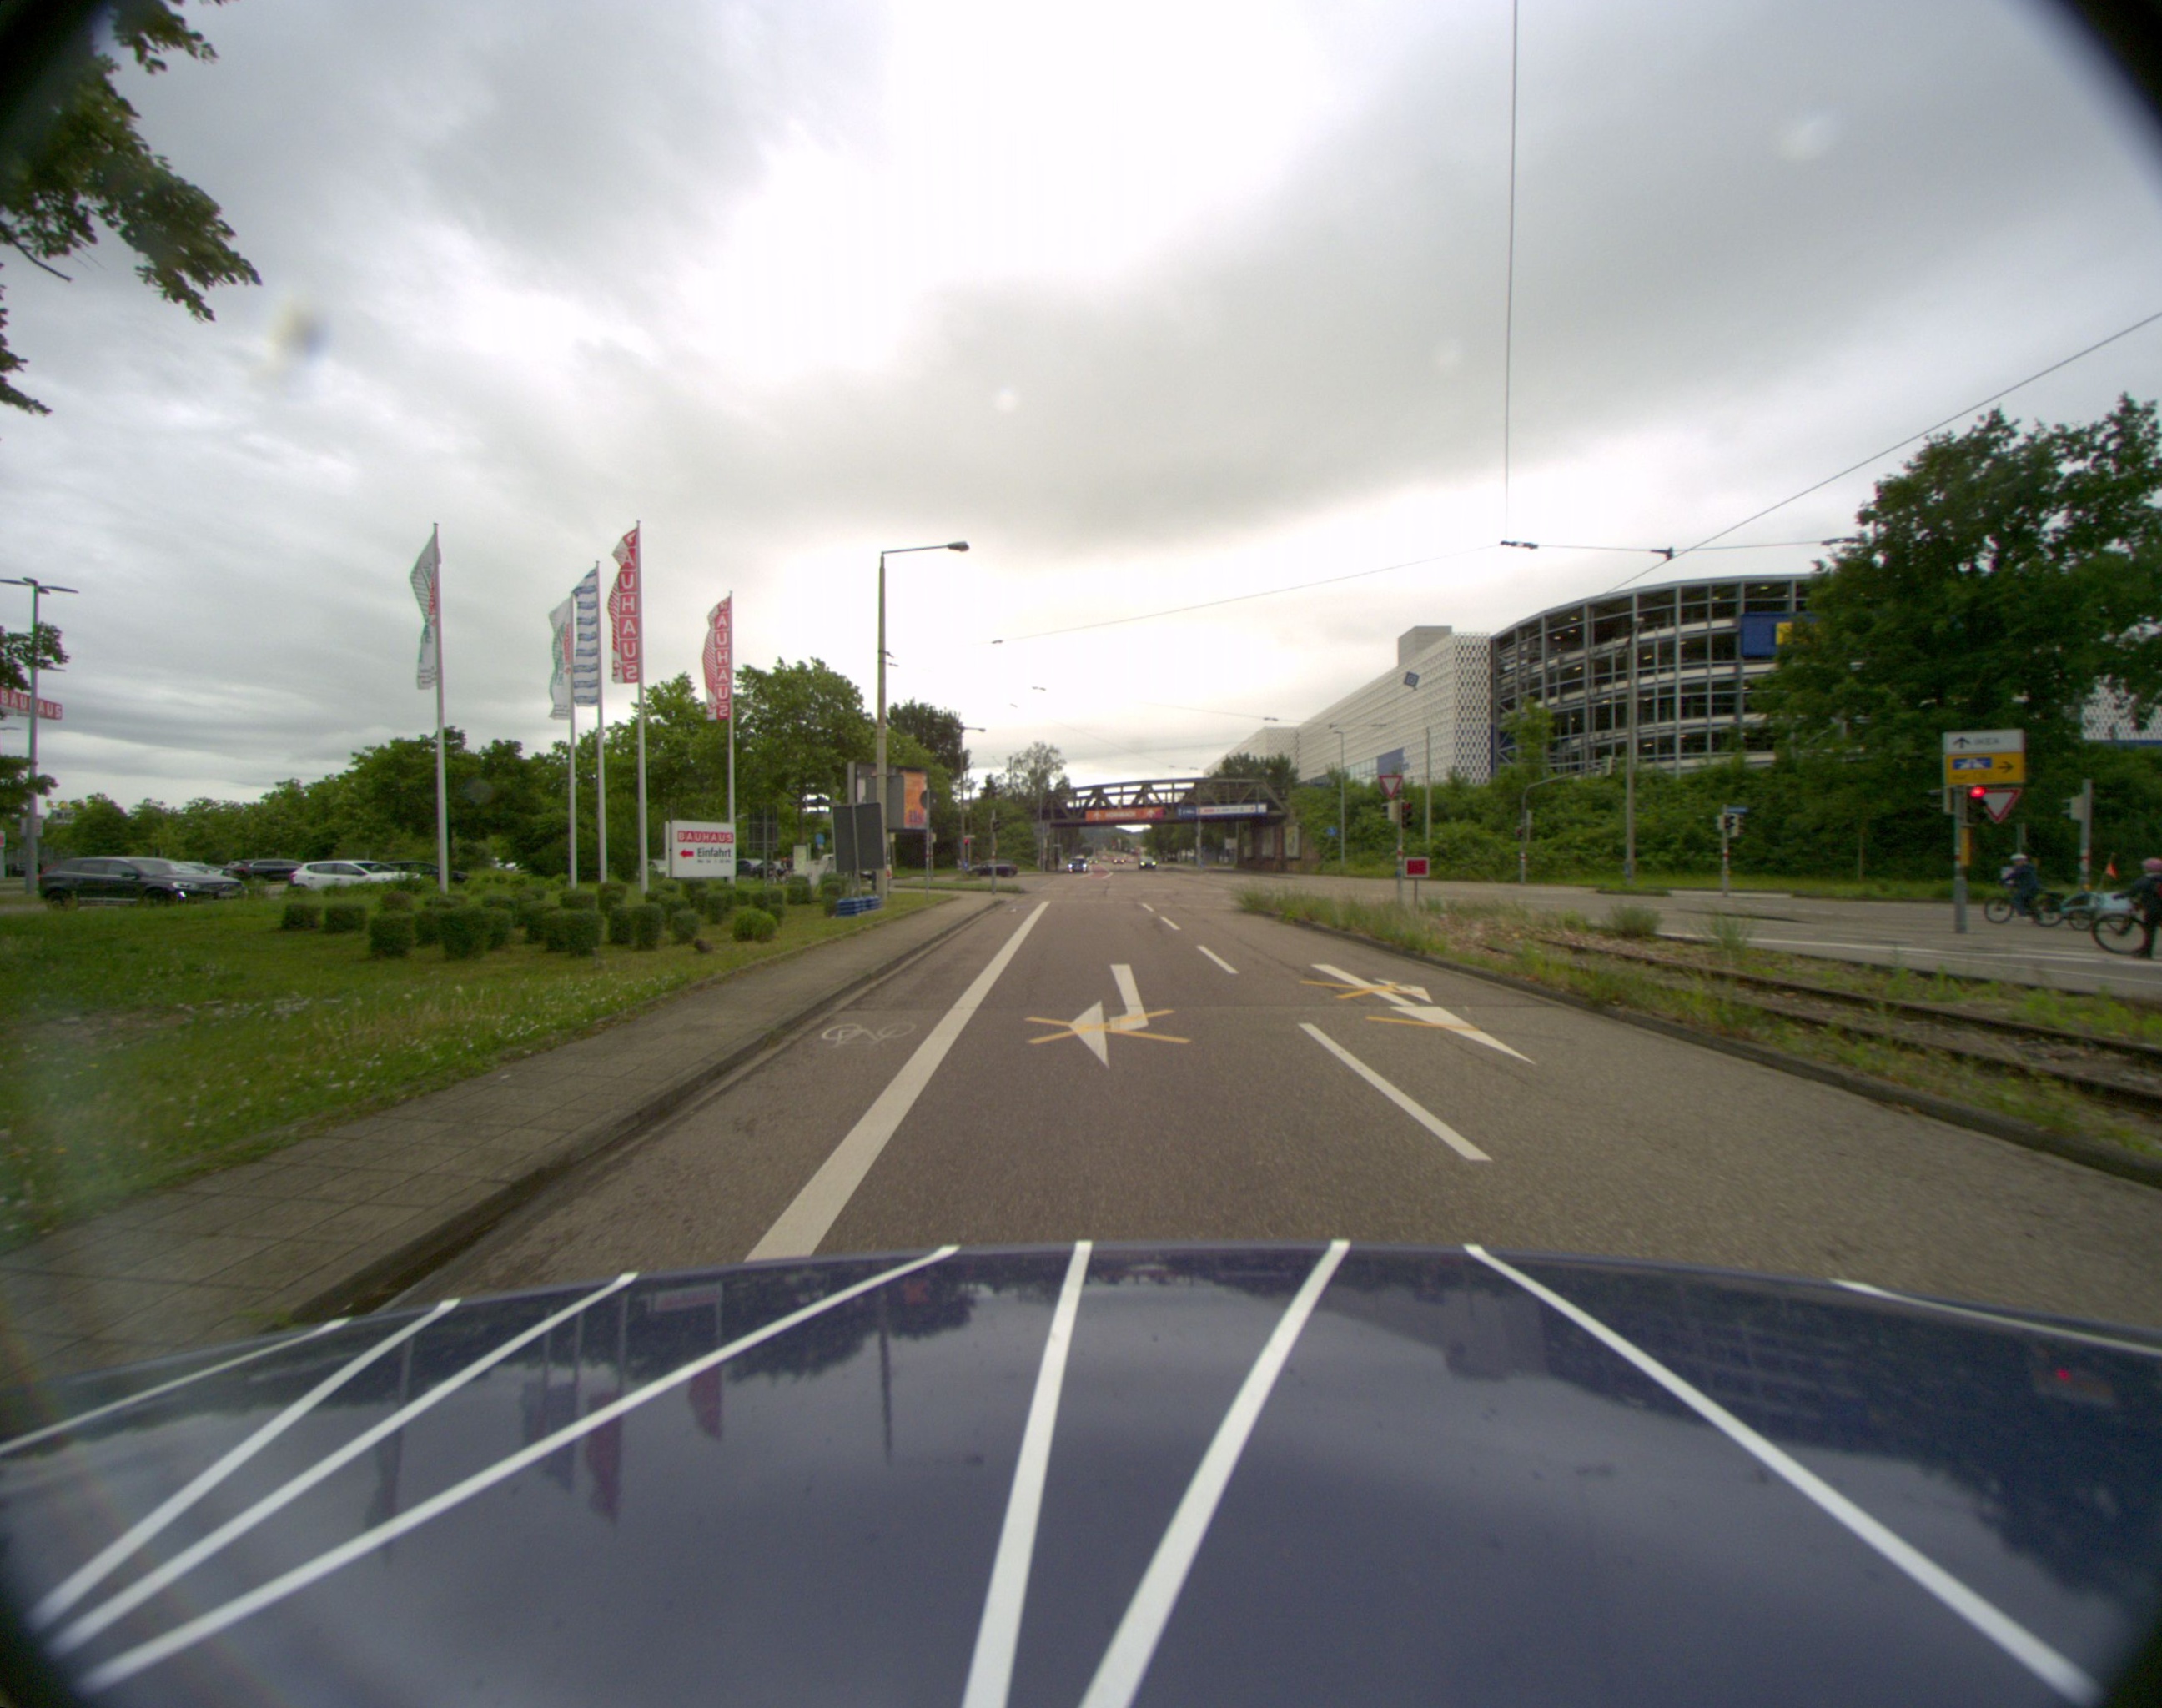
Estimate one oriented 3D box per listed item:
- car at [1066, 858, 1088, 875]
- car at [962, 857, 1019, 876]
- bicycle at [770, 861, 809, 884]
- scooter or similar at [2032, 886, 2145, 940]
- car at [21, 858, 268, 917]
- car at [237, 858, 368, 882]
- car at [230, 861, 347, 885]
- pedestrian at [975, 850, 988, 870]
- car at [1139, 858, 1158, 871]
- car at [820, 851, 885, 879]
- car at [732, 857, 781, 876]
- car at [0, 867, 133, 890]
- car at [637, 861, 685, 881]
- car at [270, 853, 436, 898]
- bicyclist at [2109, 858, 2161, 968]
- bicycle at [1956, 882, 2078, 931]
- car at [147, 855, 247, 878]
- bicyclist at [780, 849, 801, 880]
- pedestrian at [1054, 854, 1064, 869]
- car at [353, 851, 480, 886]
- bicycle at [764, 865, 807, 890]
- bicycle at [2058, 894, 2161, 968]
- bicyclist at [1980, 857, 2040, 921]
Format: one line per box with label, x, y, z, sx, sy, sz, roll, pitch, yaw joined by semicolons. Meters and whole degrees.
car;-0.402;1.251;76.118;1.788;1.637;3.998;0;0;-6
car;-7.171;0.982;60.293;4.006;1.416;1.834;-1;0;-31
bicycle;-14.497;0.901;37.779;1.890;1.142;0.583;0;0;17
scooter or similar;22.137;1.278;16.736;0.646;1.056;1.450;-2;0;7
car;-27.624;0.952;22.567;4.612;1.488;1.930;-2;1;-4
car;-51.533;0.996;50.439;2.149;1.432;5.737;0;0;31
car;-59.495;1.368;57.154;2.149;1.667;5.737;0;0;31
pedestrian;-8.446;0.502;64.364;0.745;1.630;0.776;-1;1;-39
car;7.865;1.232;88.771;1.837;1.415;4.000;-2;0;0
car;-15.957;0.719;52.951;4.409;1.818;1.884;0;2;33
car;-25.641;0.976;60.024;4.054;1.473;1.700;0;0;35
car;-76.232;1.811;57.225;5.731;1.667;2.151;0;0;-20
car;-34.142;1.391;61.733;3.989;1.524;1.788;-2;1;36
car;-27.384;0.779;28.707;4.233;1.488;1.930;-2;1;-3
bicyclist;16.962;0.914;11.937;0.647;1.673;0.686;-2;0;4
bicycle;22.698;1.242;18.498;0.646;1.056;2.002;-2;0;7
car;-78.386;1.087;67.506;2.149;1.883;5.738;1;0;40
bicyclist;-14.411;0.523;37.734;0.758;1.511;0.583;0;0;17
pedestrian;-2.467;0.838;86.826;0.785;1.749;0.876;0;1;29
car;-31.685;0.671;36.346;1.821;1.488;4.243;-1;1;36
bicycle;-13.855;1.088;35.669;1.811;1.111;0.487;0;1;-37
bicycle;16.983;1.213;11.973;0.647;1.056;2.025;-2;0;4
bicyclist;22.697;0.839;18.571;0.646;1.509;0.627;-2;0;7
